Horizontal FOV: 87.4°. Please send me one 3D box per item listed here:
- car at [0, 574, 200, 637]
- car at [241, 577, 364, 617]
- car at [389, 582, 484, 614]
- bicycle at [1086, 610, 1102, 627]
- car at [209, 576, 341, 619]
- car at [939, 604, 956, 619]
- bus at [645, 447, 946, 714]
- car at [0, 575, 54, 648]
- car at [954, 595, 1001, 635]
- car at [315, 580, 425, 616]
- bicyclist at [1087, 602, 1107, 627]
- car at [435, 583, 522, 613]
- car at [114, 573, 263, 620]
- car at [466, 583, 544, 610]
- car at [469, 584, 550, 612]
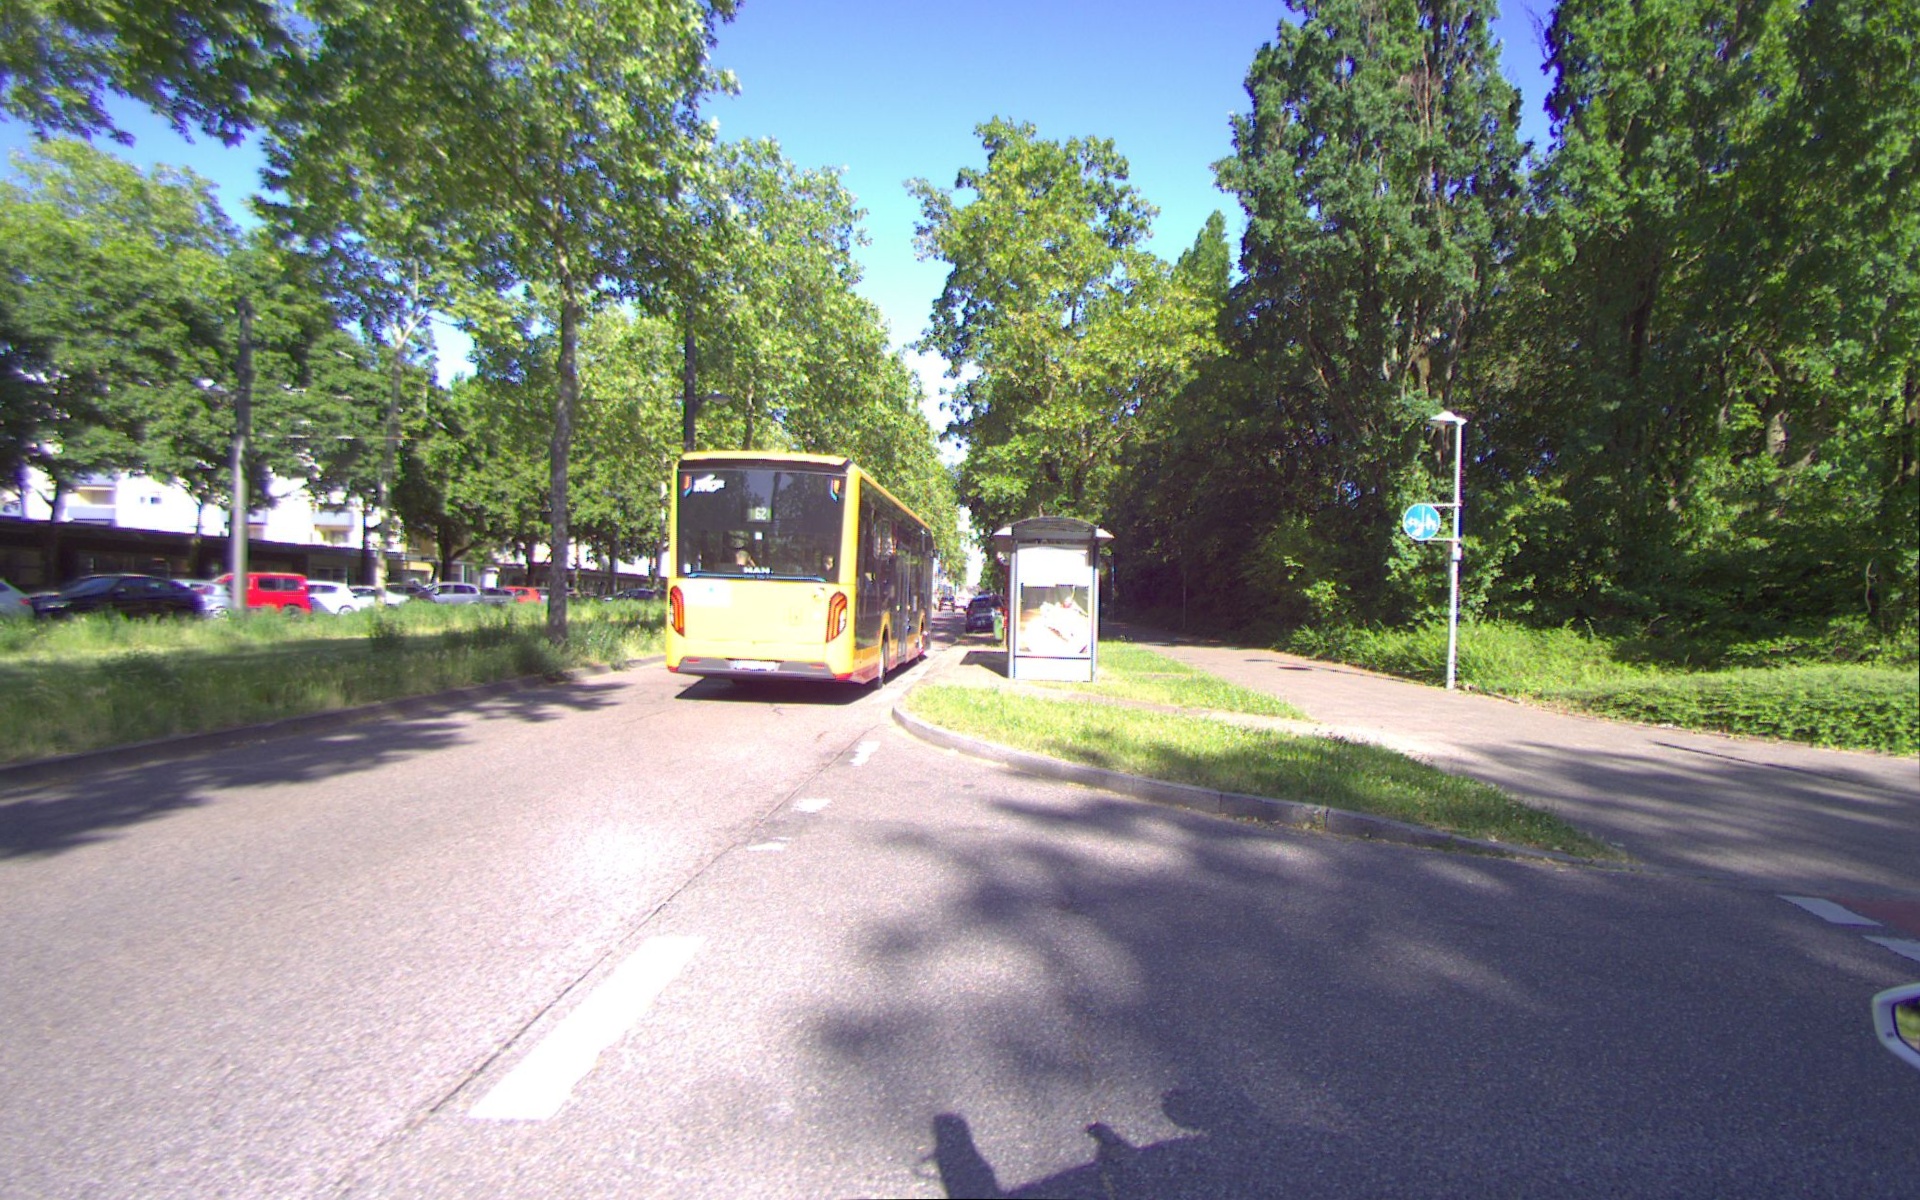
[{"bbox_3d":[-22.817,0.132,26.810,1.764,1.530,4.002,1,0,6],"label":"car"},{"bbox_3d":[-26.777,-0.114,40.958,3.970,1.530,1.778,1,0,-42],"label":"car"},{"bbox_3d":[-26.533,-0.108,50.951,3.970,1.530,1.778,1,0,-42],"label":"car"},{"bbox_3d":[9.254,1.293,69.297,0.744,1.122,1.799,1,0,-4],"label":"bicycle"},{"bbox_3d":[-26.062,-0.084,38.282,3.970,1.530,1.778,1,0,-42],"label":"car"},{"bbox_3d":[-1.322,1.201,107.931,1.764,1.530,4.000,1,0,0],"label":"car"},{"bbox_3d":[-2.171,-0.257,18.789,2.851,3.310,12.221,1,0,4],"label":"bus"},{"bbox_3d":[-20.869,0.224,19.730,1.764,1.530,4.676,1,0,2],"label":"car"},{"bbox_3d":[0.777,0.597,42.112,1.764,1.530,4.001,1,0,3],"label":"car"},{"bbox_3d":[-26.346,-0.082,44.902,3.970,1.530,1.778,1,0,-42],"label":"car"},{"bbox_3d":[9.469,1.010,69.267,1.160,1.683,1.028,1,0,-4],"label":"bicyclist"},{"bbox_3d":[-26.348,-0.091,54.996,3.970,1.530,1.778,1,0,-42],"label":"car"},{"bbox_3d":[-26.509,-0.096,34.575,3.970,1.530,1.778,1,0,-42],"label":"car"},{"bbox_3d":[-27.499,-0.210,60.738,3.970,1.530,1.778,1,0,-42],"label":"car"},{"bbox_3d":[-26.287,-0.088,58.618,3.970,1.530,1.778,1,0,-42],"label":"car"}]
